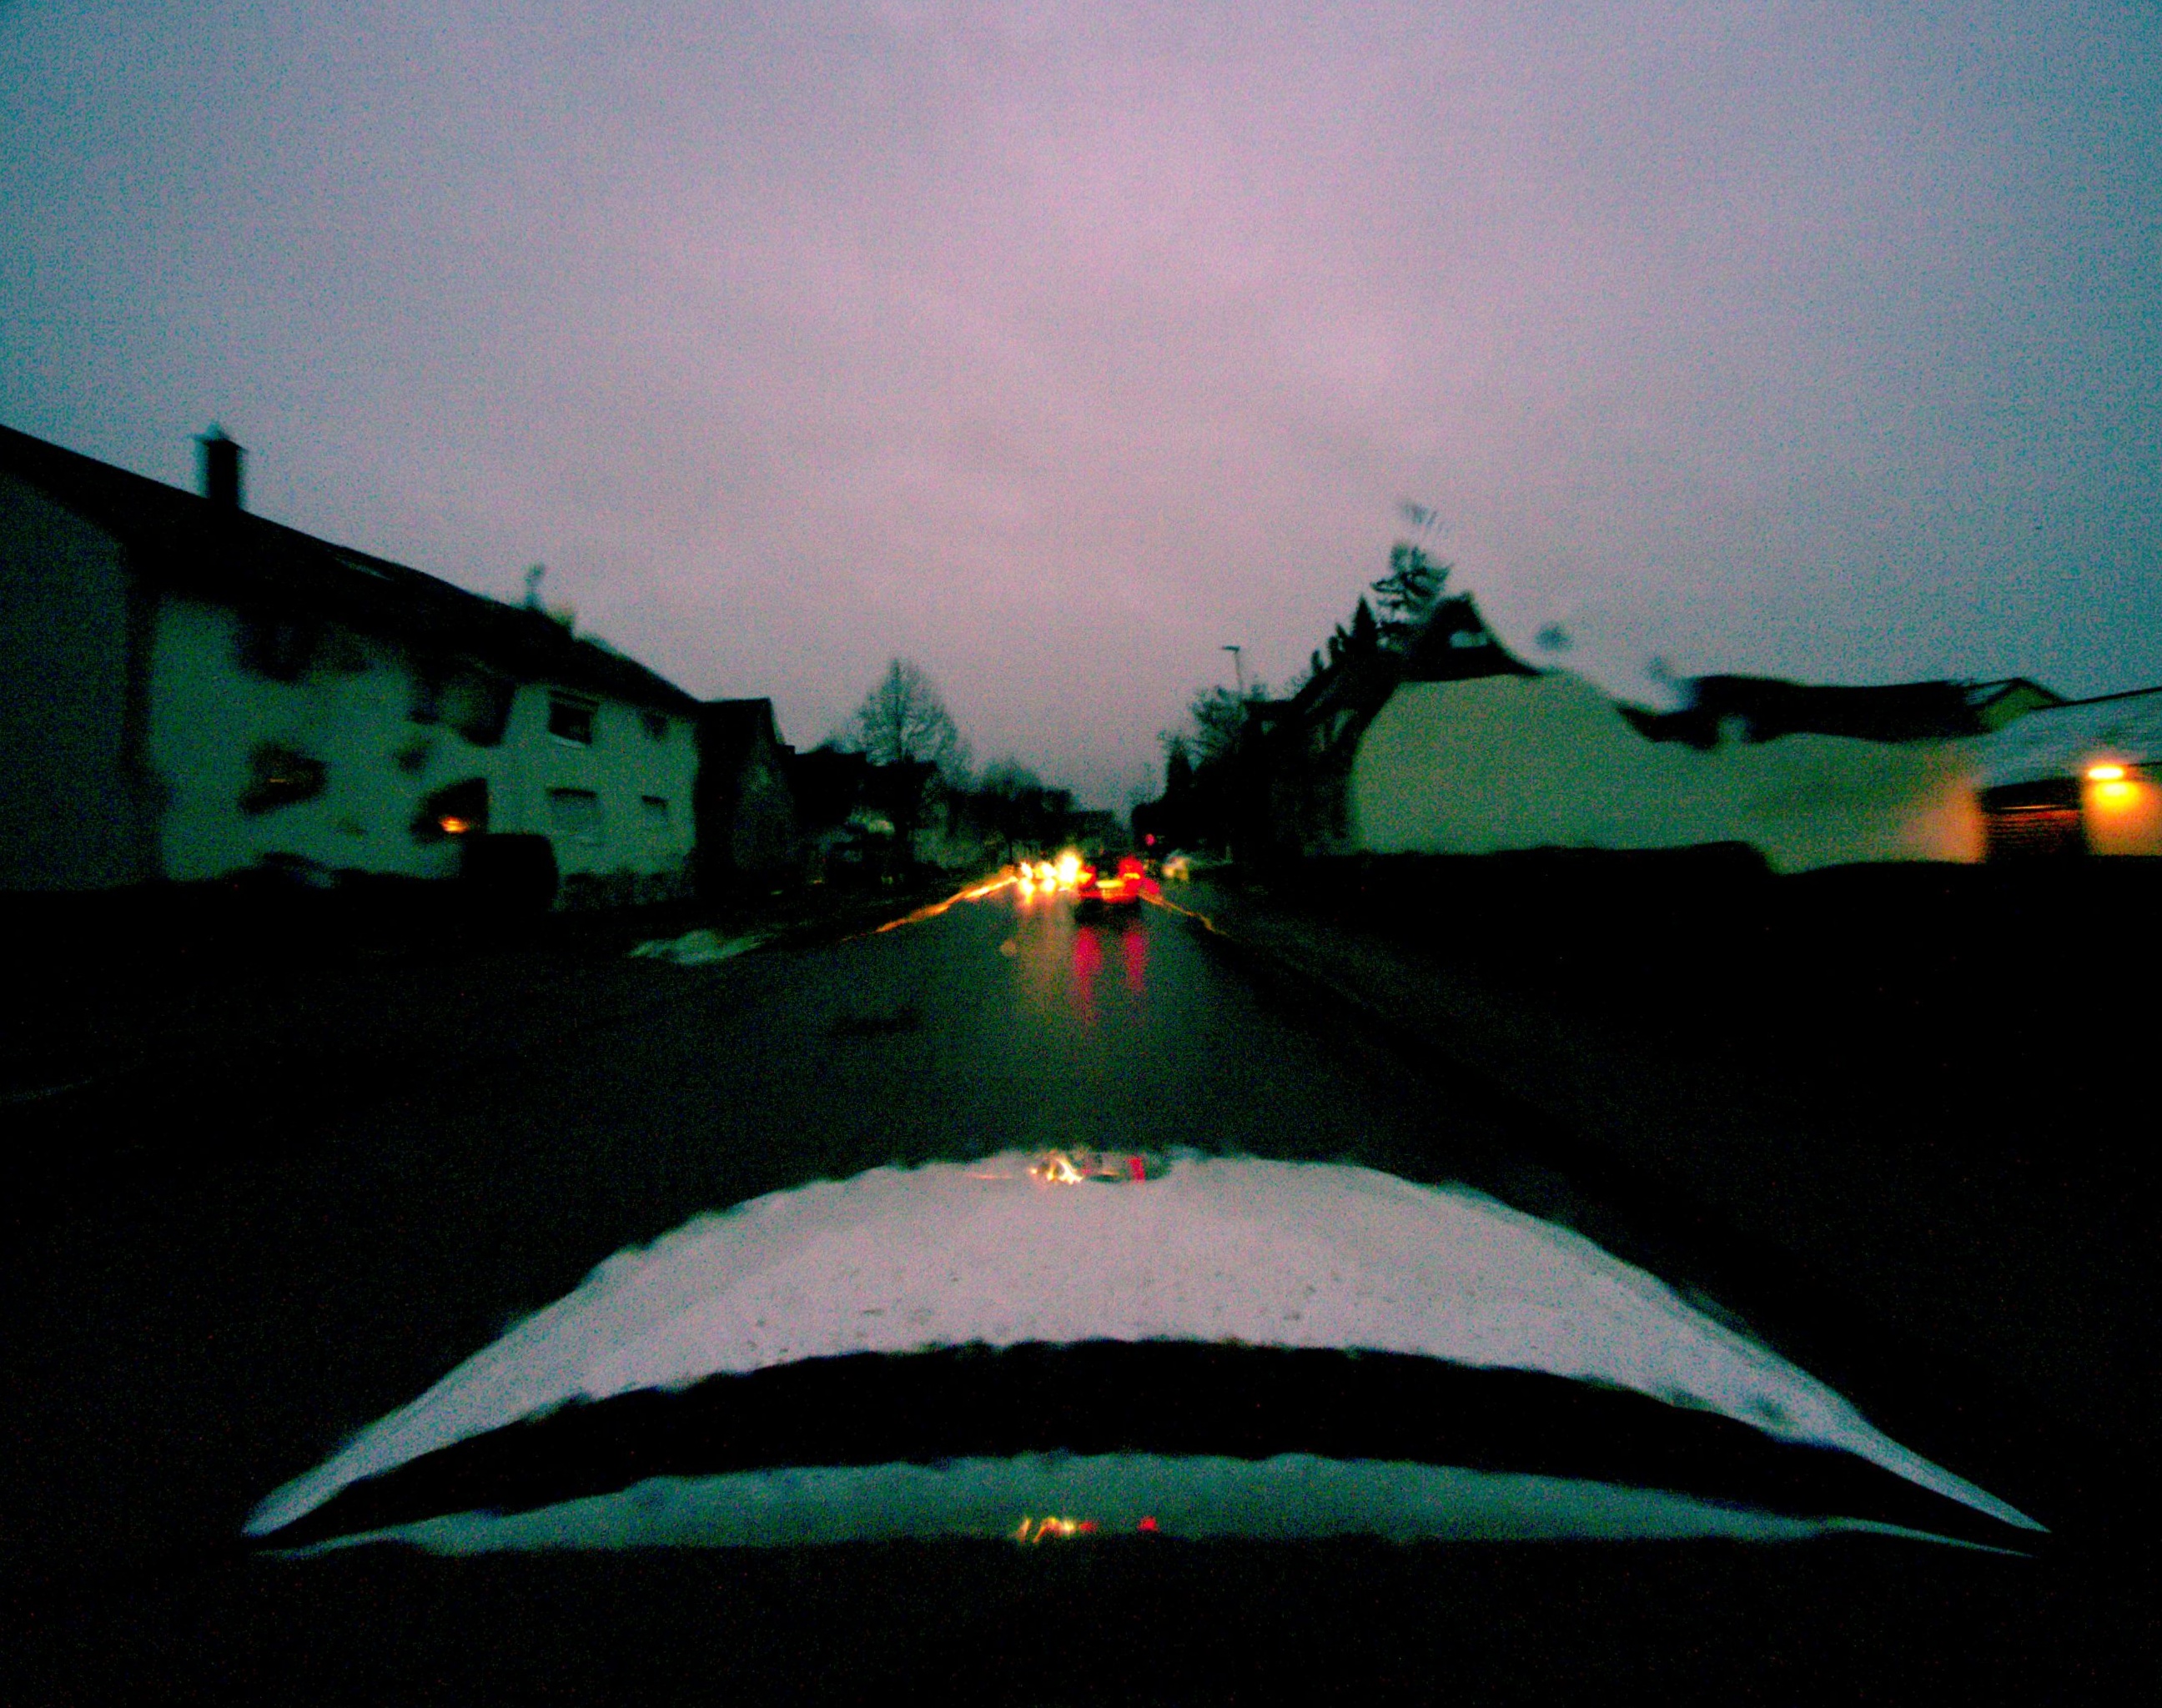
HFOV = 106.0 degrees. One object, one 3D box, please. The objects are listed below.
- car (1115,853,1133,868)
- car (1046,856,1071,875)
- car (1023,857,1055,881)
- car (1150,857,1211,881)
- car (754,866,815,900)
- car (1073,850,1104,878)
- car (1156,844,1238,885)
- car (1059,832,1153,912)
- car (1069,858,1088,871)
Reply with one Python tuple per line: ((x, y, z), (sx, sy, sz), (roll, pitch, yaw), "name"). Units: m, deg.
((5.773, 0.857, 109.735), (2.301, 1.938, 5.019), (-2, -1, 1), "car")
((-2.028, 1.049, 73.414), (1.905, 1.431, 4.004), (-1, 2, 3), "car")
((-2.986, 1.061, 58.258), (1.906, 1.522, 4.002), (-2, 1, 1), "car")
((6.395, 0.974, 52.687), (3.753, 1.390, 1.766), (-2, 0, 2), "car")
((-12.922, 1.246, 35.744), (1.777, 1.393, 3.987), (1, -1, -9), "car")
((0.448, 0.618, 50.897), (1.852, 1.647, 3.999), (-1, 0, 0), "car")
((6.177, 0.579, 43.833), (4.226, 2.013, 1.813), (-2, 0, 5), "car")
((0.634, 0.488, 22.894), (2.302, 1.938, 5.017), (-2, -1, 0), "car")
((-0.286, 1.195, 92.684), (1.835, 1.331, 3.940), (-2, 0, 3), "car")
